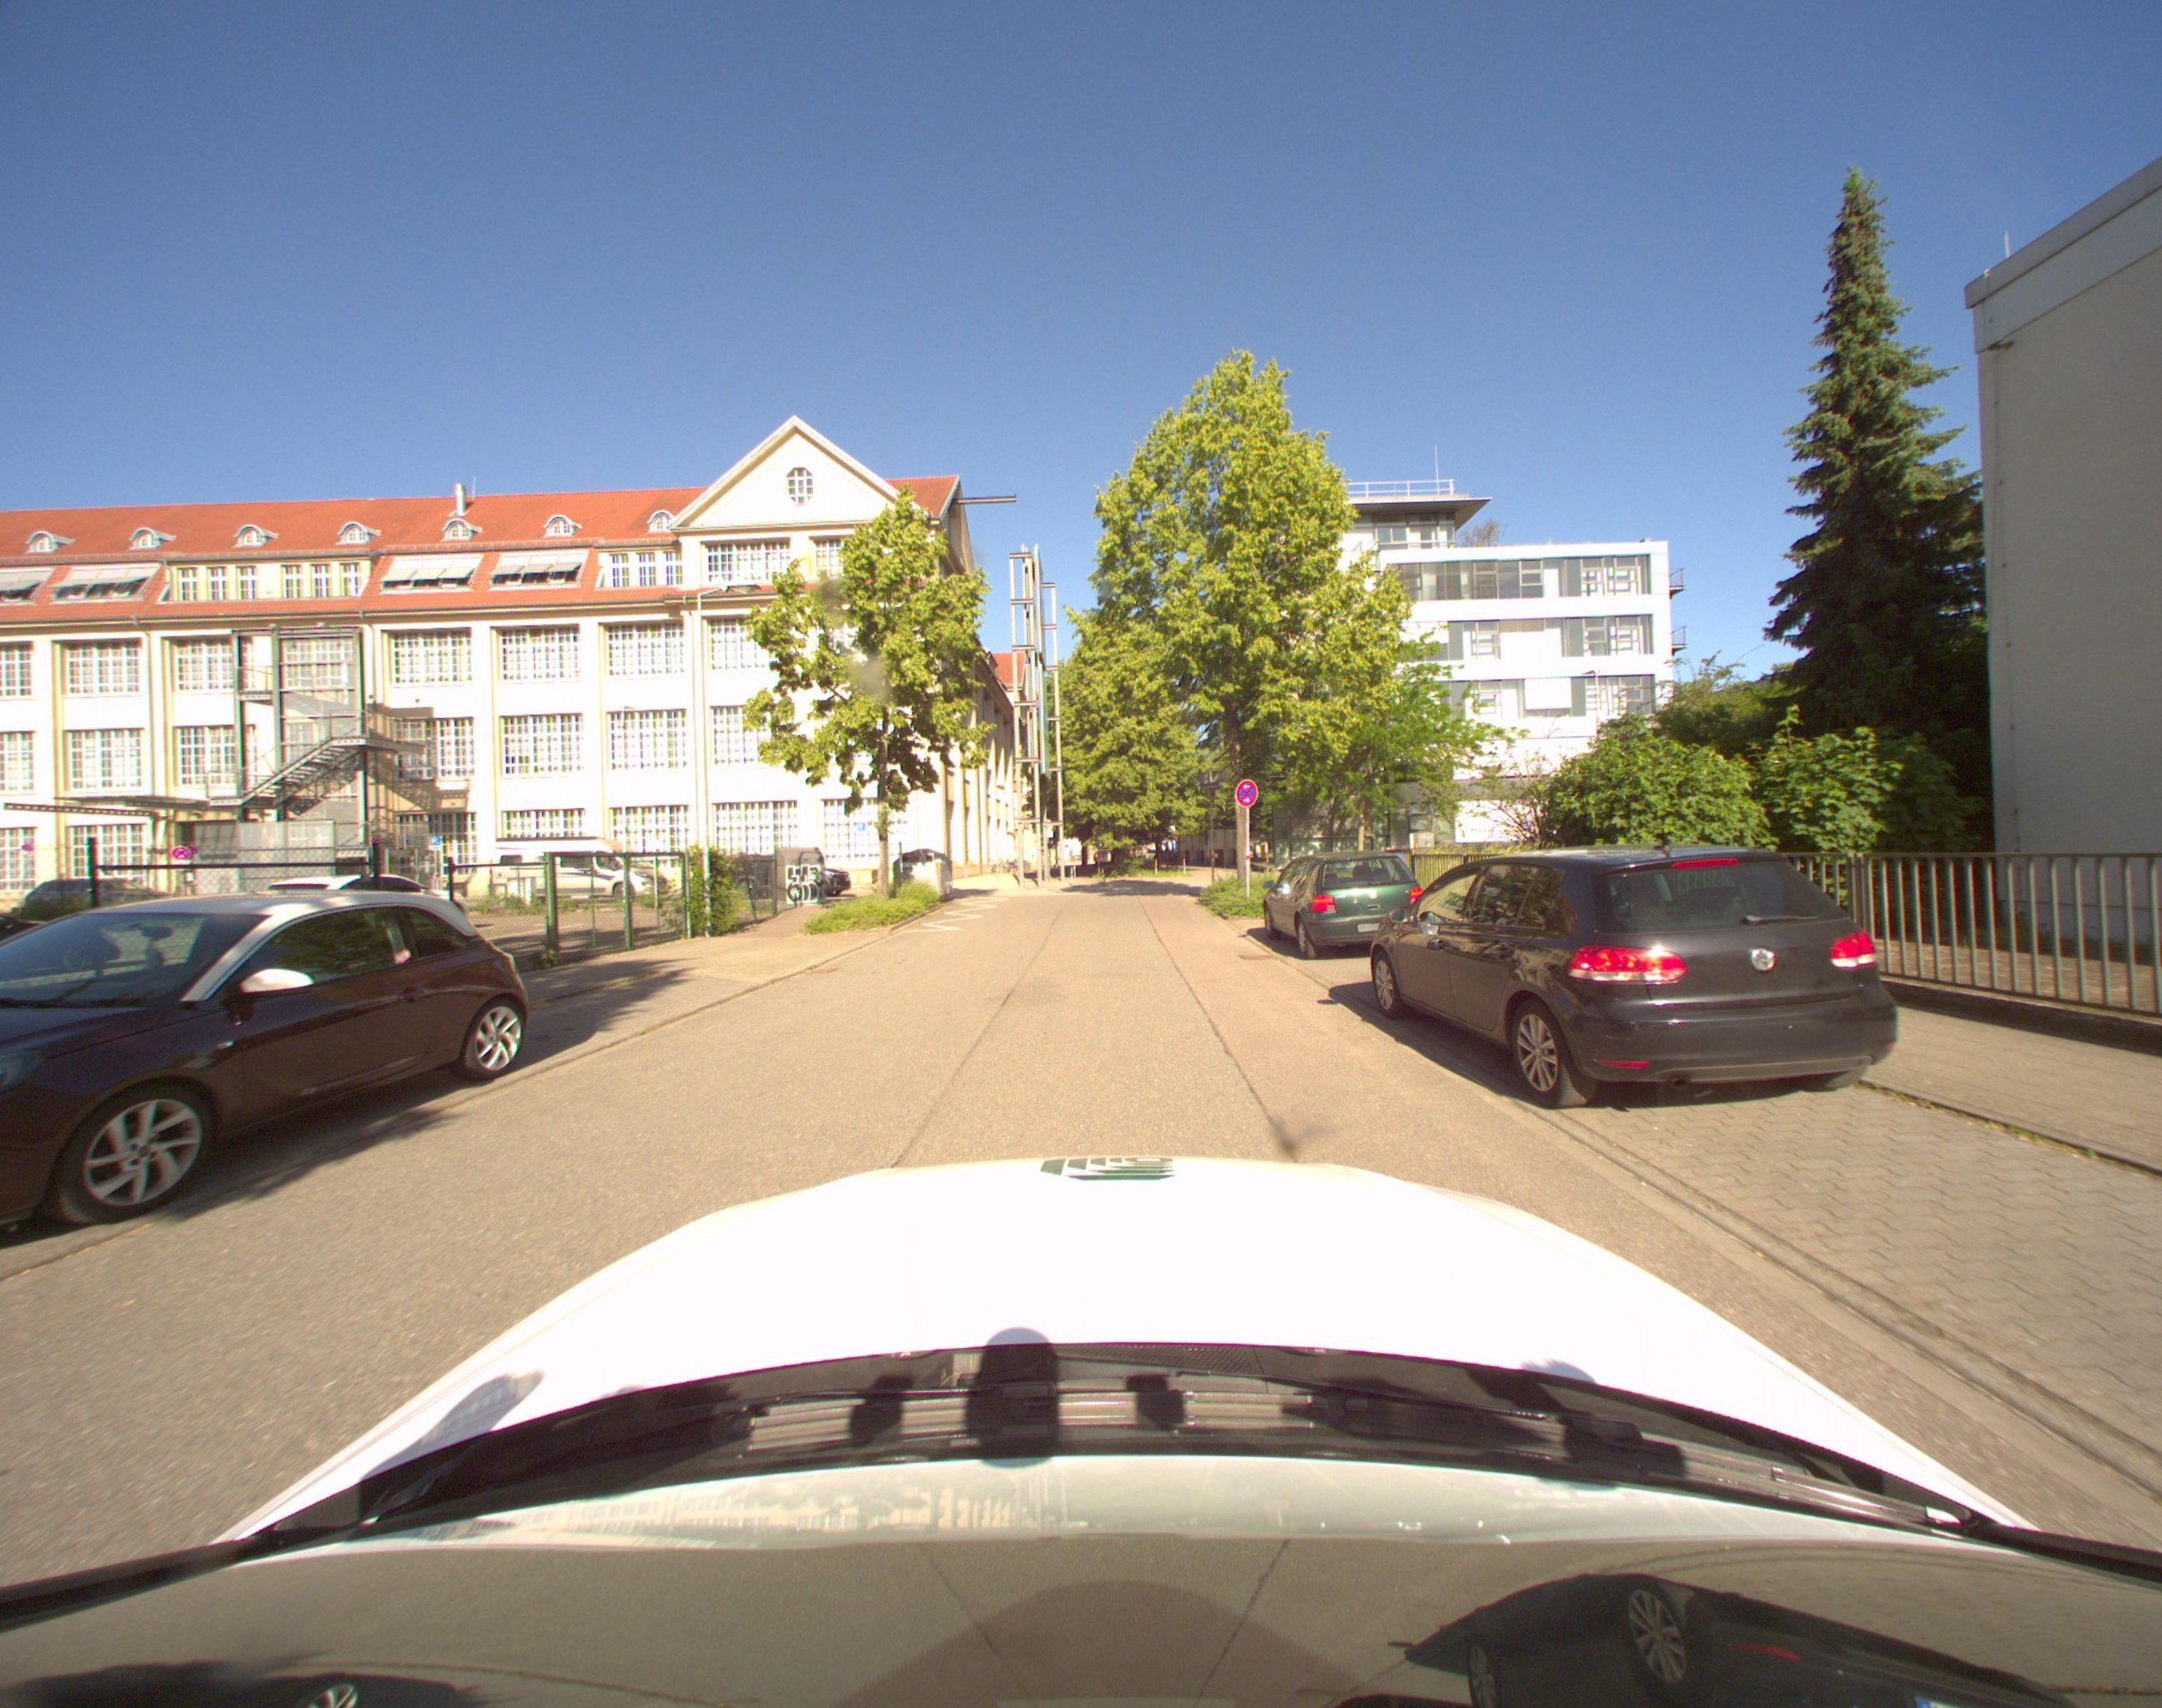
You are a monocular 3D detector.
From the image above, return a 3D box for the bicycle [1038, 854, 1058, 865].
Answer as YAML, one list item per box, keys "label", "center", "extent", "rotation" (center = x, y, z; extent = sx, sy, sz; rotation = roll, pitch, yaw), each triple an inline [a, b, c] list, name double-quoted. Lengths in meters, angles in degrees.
- label: "bicycle"
  center: [-3.422, 0.565, 84.097]
  extent: [2.049, 1.066, 0.507]
  rotation: [-2, 0, 3]

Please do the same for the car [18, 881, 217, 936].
- label: "car"
  center: [-33.955, 1.873, 28.906]
  extent: [1.884, 1.560, 4.244]
  rotation: [-2, 0, 1]

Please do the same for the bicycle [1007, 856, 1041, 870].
- label: "bicycle"
  center: [-4.795, 0.781, 68.299]
  extent: [2.794, 1.063, 0.718]
  rotation: [-2, 0, -3]

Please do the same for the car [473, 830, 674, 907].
- label: "car"
  center: [-19.190, 0.544, 31.009]
  extent: [6.241, 2.597, 2.165]
  rotation: [-2, -1, 0]

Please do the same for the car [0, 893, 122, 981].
- label: "car"
  center: [-20.146, 1.548, 13.994]
  extent: [1.957, 1.456, 4.380]
  rotation: [-2, 0, 4]

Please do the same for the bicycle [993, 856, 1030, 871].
- label: "bicycle"
  center: [-5.450, 0.739, 63.755]
  extent: [2.794, 1.063, 0.718]
  rotation: [-2, 0, -3]

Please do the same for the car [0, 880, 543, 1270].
- label: "car"
  center: [-5.244, 0.951, 4.860]
  extent: [1.712, 1.474, 3.545]
  rotation: [0, 0, 0]

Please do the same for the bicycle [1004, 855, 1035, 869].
- label: "bicycle"
  center: [-5.447, 0.676, 72.075]
  extent: [2.725, 1.150, 0.718]
  rotation: [-2, 0, -3]

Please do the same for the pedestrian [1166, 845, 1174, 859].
- label: "pedestrian"
  center: [9.496, -0.219, 86.847]
  extent: [0.713, 1.550, 0.692]
  rotation: [-2, 0, 8]

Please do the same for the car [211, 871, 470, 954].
- label: "car"
  center: [-17.682, 1.319, 19.823]
  extent: [1.984, 1.609, 4.432]
  rotation: [-2, 0, 4]

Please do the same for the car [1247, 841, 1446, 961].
- label: "car"
  center: [3.881, 0.621, 12.741]
  extent: [1.740, 1.422, 4.426]
  rotation: [-4, -1, 2]

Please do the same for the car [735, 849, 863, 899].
- label: "car"
  center: [-10.702, 0.743, 31.087]
  extent: [4.073, 1.695, 2.002]
  rotation: [-2, -1, 3]

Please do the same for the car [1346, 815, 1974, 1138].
- label: "car"
  center: [3.519, 0.592, 6.024]
  extent: [1.778, 1.516, 4.000]
  rotation: [-2, 0, 0]

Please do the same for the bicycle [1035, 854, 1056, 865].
- label: "bicycle"
  center: [-3.647, 0.602, 83.436]
  extent: [2.049, 1.066, 0.507]
  rotation: [-2, 0, 3]

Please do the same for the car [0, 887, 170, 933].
- label: "car"
  center: [-37.337, 2.090, 30.568]
  extent: [4.195, 1.425, 1.852]
  rotation: [-3, 0, 2]

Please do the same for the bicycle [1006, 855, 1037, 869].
- label: "bicycle"
  center: [-5.337, 0.705, 72.863]
  extent: [2.725, 1.150, 0.718]
  rotation: [-2, 0, -3]

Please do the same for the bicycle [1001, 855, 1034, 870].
- label: "bicycle"
  center: [-5.471, 0.727, 70.716]
  extent: [2.794, 1.150, 0.718]
  rotation: [-3, 0, -3]

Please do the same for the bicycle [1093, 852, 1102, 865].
- label: "bicycle"
  center: [1.566, 0.464, 77.564]
  extent: [0.618, 1.197, 2.129]
  rotation: [-2, 0, -3]

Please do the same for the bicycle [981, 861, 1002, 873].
- label: "bicycle"
  center: [-6.680, 0.947, 60.940]
  extent: [0.773, 0.792, 2.892]
  rotation: [-2, 0, 9]

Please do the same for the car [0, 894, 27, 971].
- label: "car"
  center: [-22.405, 1.601, 14.279]
  extent: [1.957, 1.495, 4.380]
  rotation: [-2, 0, 4]

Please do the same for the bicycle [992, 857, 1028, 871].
- label: "bicycle"
  center: [-5.674, 0.785, 65.378]
  extent: [2.790, 1.063, 0.719]
  rotation: [-2, 0, 1]
